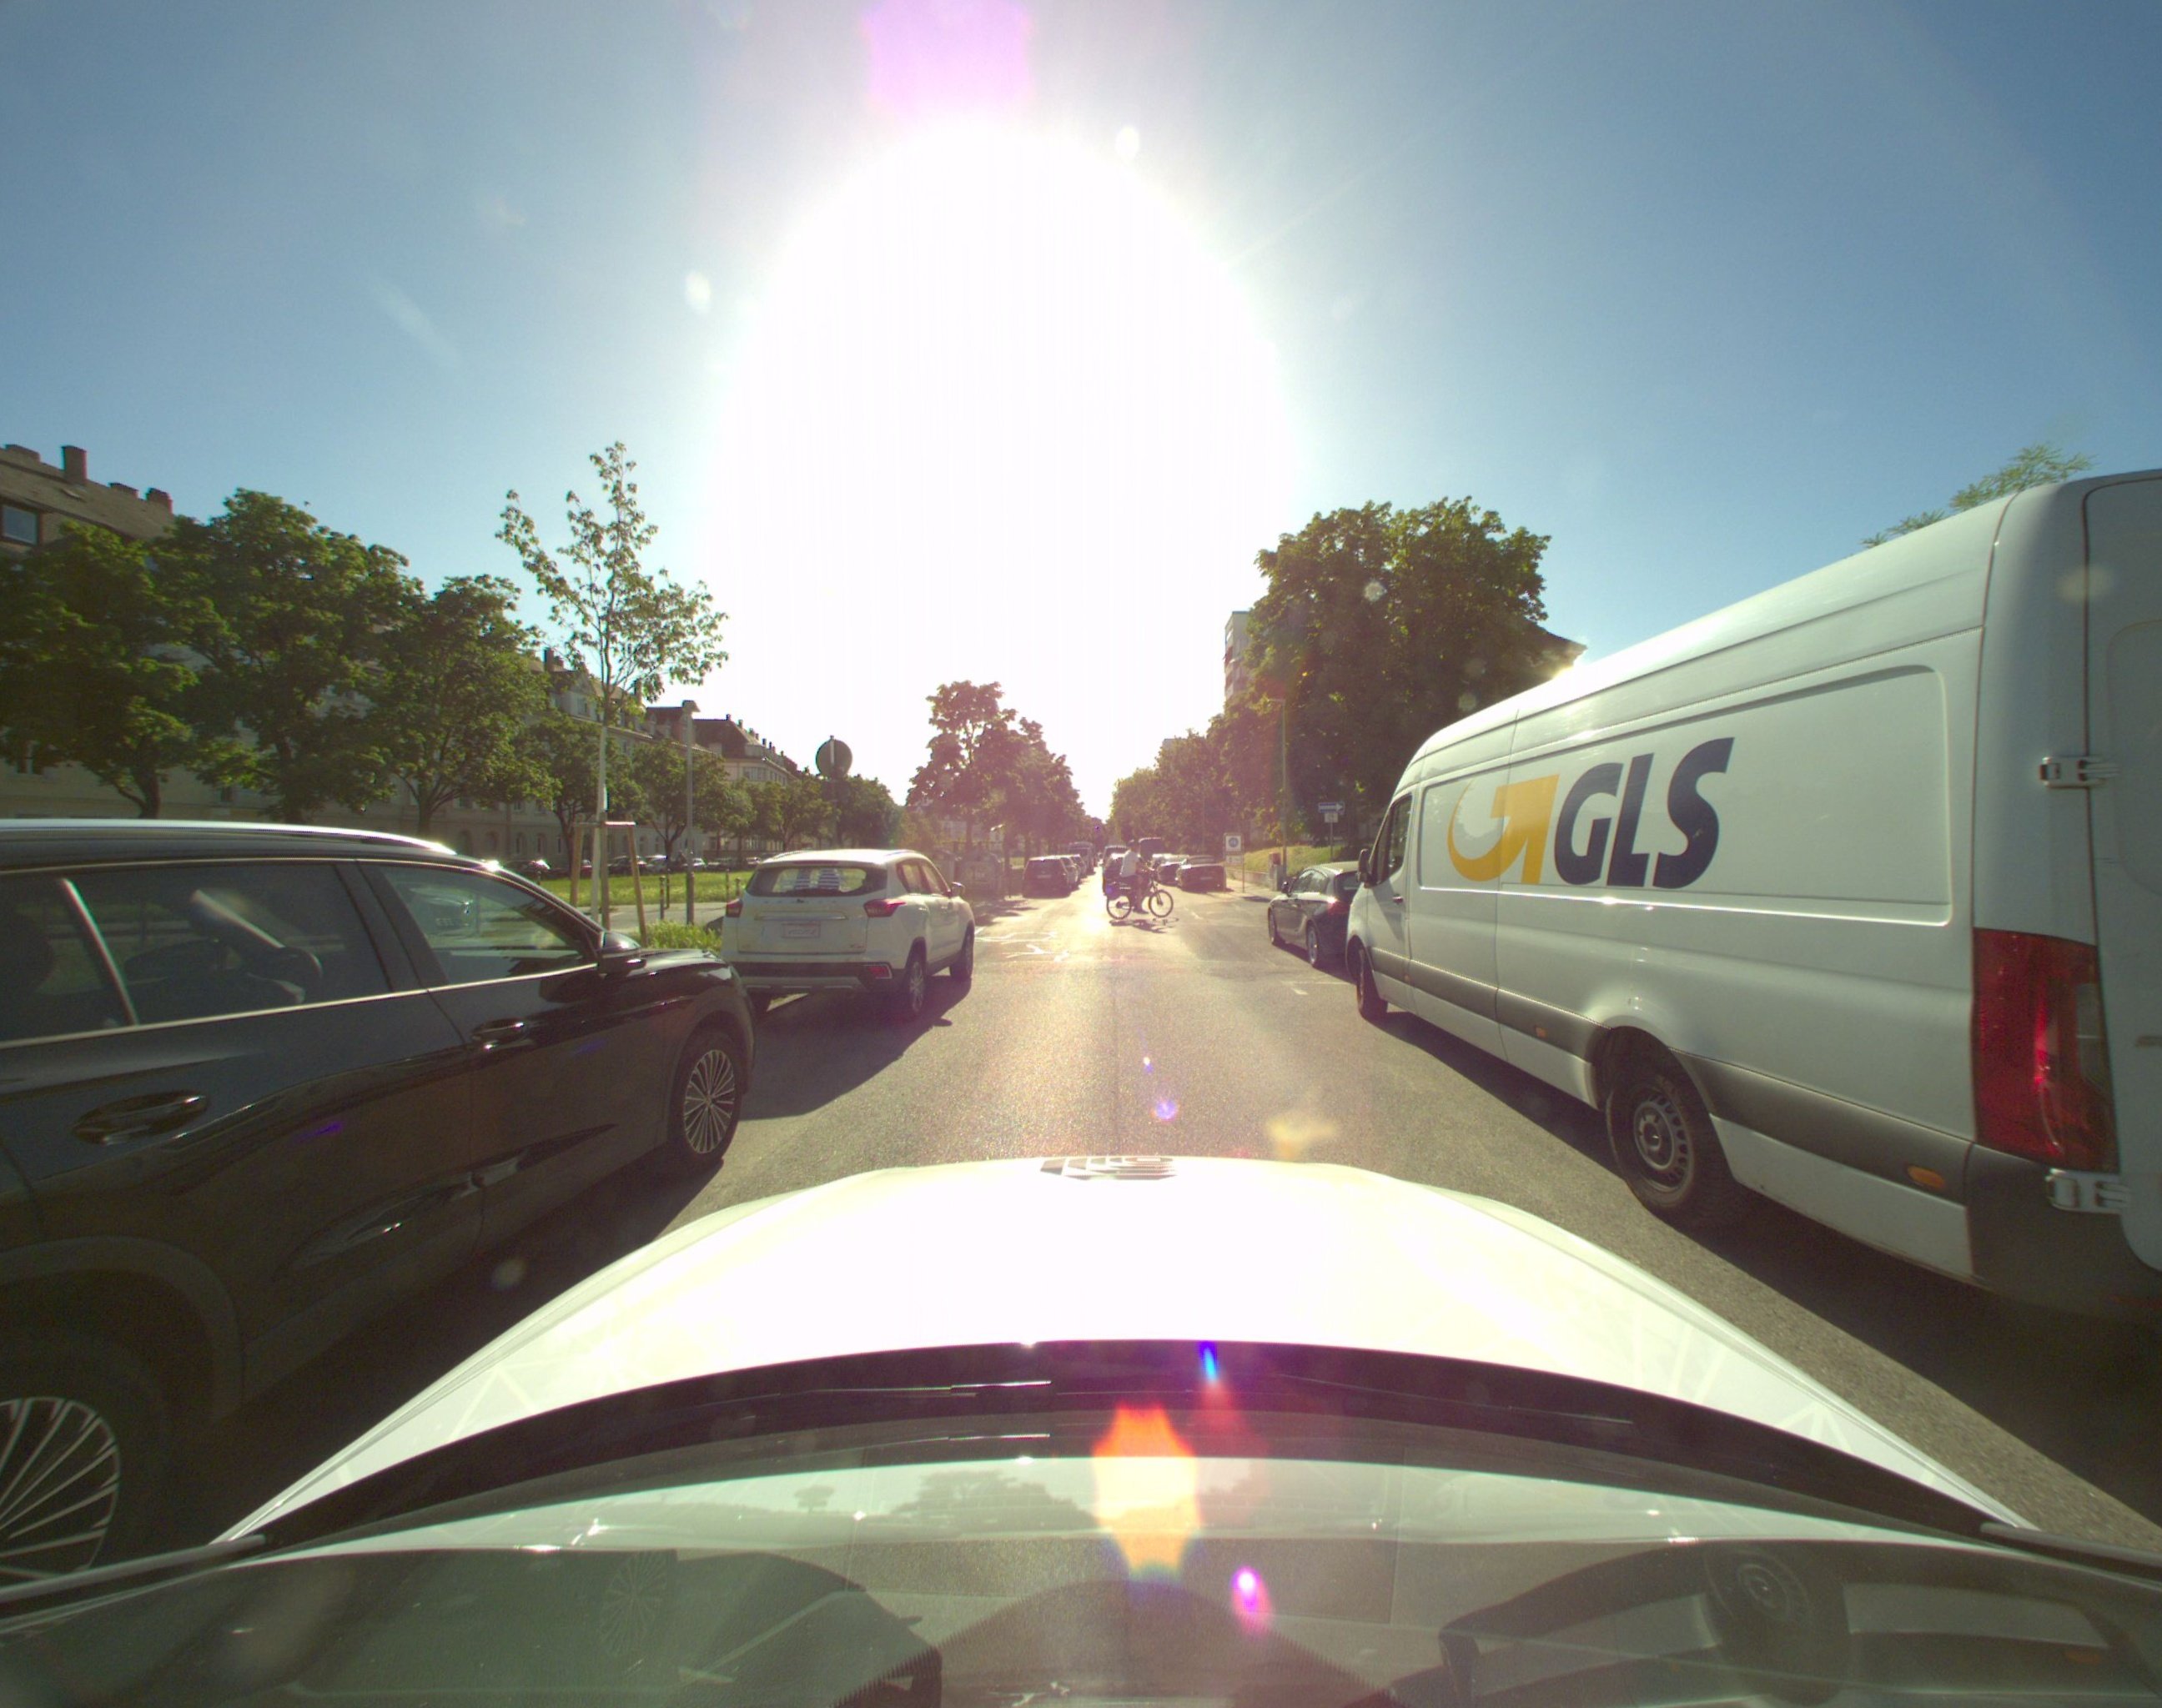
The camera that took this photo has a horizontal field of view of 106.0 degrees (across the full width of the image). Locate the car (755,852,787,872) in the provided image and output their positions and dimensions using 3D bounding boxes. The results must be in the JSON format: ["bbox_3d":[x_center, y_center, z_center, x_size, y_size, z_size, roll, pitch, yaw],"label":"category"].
[{"bbox_3d":[-34.472,0.884,90.787,1.689,2.213,5.007,0,0,0],"label":"car"}]

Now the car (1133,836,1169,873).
[{"bbox_3d":[5.299,0.017,62.478,2.156,2.689,5.414,-1,0,-1],"label":"car"}]

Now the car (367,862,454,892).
[{"bbox_3d":[-41.286,1.374,50.276,1.837,1.701,4.005,0,0,4],"label":"car"}]

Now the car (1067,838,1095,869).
[{"bbox_3d":[0.035,-0.025,68.520,2.090,2.496,4.130,0,0,3],"label":"car"}]

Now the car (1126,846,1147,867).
[{"bbox_3d":[6.224,0.275,92.064,2.155,2.292,5.267,-1,0,2],"label":"car"}]

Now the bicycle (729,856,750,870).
[{"bbox_3d":[-31.838,0.804,76.002,0.807,1.252,2.634,0,0,0],"label":"bicycle"}]

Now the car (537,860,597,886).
[{"bbox_3d":[-35.548,1.303,56.432,1.626,1.686,4.080,0,0,0],"label":"car"}]

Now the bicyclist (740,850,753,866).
[{"bbox_3d":[-30.099,0.370,73.240,0.735,1.437,0.943,-1,-1,1],"label":"bicyclist"}]

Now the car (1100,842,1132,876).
[{"bbox_3d":[2.275,0.297,52.343,1.886,1.991,4.014,-2,0,3],"label":"car"}]

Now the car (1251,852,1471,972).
[{"bbox_3d":[4.097,0.746,12.807,1.951,1.481,4.500,-2,0,1],"label":"car"}]

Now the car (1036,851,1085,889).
[{"bbox_3d":[-0.847,0.668,35.909,1.770,1.495,3.878,-2,-1,3],"label":"car"}]

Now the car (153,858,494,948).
[{"bbox_3d":[-14.161,0.847,15.622,4.352,1.409,1.907,-1,2,-23],"label":"car"}]

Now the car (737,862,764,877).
[{"bbox_3d":[-34.483,1.578,85.016,1.512,1.440,3.231,0,0,-1],"label":"car"}]

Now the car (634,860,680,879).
[{"bbox_3d":[-35.218,1.277,67.765,1.687,1.429,3.777,0,0,3],"label":"car"}]

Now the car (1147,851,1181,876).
[{"bbox_3d":[5.282,0.584,52.358,1.980,1.487,4.130,0,0,3],"label":"car"}]

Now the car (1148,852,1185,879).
[{"bbox_3d":[4.929,0.631,47.304,1.773,1.487,4.032,-1,0,1],"label":"car"}]

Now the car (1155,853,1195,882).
[{"bbox_3d":[4.679,0.657,40.931,1.772,1.371,4.130,0,0,3],"label":"car"}]

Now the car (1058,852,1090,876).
[{"bbox_3d":[-0.402,0.610,53.640,1.825,1.500,4.130,0,0,3],"label":"car"}]

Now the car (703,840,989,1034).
[{"bbox_3d":[-2.319,0.722,9.308,1.749,1.647,4.291,-2,0,3],"label":"car"}]

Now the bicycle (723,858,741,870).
[{"bbox_3d":[-31.314,0.880,73.143,0.729,1.079,1.956,-1,0,0],"label":"bicycle"}]

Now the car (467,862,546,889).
[{"bbox_3d":[-35.762,1.318,50.880,1.751,1.549,4.527,0,0,0],"label":"car"}]

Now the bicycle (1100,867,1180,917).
[{"bbox_3d":[1.384,0.878,19.175,1.764,1.127,0.659,0,0,-17],"label":"bicycle"}]

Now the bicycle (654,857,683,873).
[{"bbox_3d":[-32.114,0.854,63.445,0.807,1.252,2.636,0,0,3],"label":"bicycle"}]

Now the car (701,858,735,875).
[{"bbox_3d":[-40.225,1.360,90.338,1.853,1.749,4.001,0,0,1],"label":"car"}]

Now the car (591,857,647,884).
[{"bbox_3d":[-35.391,1.216,62.479,1.731,1.908,4.460,-1,0,0],"label":"car"}]

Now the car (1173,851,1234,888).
[{"bbox_3d":[5.191,0.616,34.957,2.116,1.337,4.509,-3,0,3],"label":"car"}]

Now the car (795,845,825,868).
[{"bbox_3d":[-34.327,0.283,103.247,1.910,2.744,5.623,0,0,0],"label":"car"}]

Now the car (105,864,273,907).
[{"bbox_3d":[-36.217,1.233,33.288,1.689,1.561,4.696,0,0,0],"label":"car"}]

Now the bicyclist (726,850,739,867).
[{"bbox_3d":[-31.353,0.401,73.217,0.735,1.437,0.943,-2,0,1],"label":"bicyclist"}]

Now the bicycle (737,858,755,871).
[{"bbox_3d":[-30.120,0.940,73.262,0.729,1.079,1.956,-1,0,0],"label":"bicycle"}]

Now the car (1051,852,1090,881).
[{"bbox_3d":[-0.516,0.648,43.836,1.772,1.461,4.130,0,0,3],"label":"car"}]

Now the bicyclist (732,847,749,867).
[{"bbox_3d":[-31.829,0.292,76.157,0.938,1.837,1.449,-1,-1,1],"label":"bicyclist"}]

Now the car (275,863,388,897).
[{"bbox_3d":[-36.072,1.211,39.355,1.689,1.526,4.080,0,0,0],"label":"car"}]

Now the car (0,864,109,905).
[{"bbox_3d":[-36.362,1.025,27.982,1.689,1.279,3.525,0,0,-1],"label":"car"}]

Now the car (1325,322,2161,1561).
[{"bbox_3d":[3.489,0.140,5.162,2.133,2.713,6.847,-2,0,3],"label":"car"}]

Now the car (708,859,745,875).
[{"bbox_3d":[-34.982,1.266,80.509,1.839,1.440,3.776,0,0,2],"label":"car"}]

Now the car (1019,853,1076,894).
[{"bbox_3d":[-1.235,0.717,31.395,1.741,1.425,3.919,-3,-1,3],"label":"car"}]

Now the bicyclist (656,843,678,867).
[{"bbox_3d":[-32.221,0.099,63.423,0.937,1.837,1.450,-1,-1,3],"label":"bicyclist"}]

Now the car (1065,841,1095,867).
[{"bbox_3d":[-0.042,-0.020,62.105,2.090,1.942,4.129,0,0,2],"label":"car"}]

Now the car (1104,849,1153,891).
[{"bbox_3d":[1.837,0.570,31.517,1.772,1.531,4.004,1,0,3],"label":"car"}]

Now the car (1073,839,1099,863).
[{"bbox_3d":[0.648,-0.316,93.982,2.605,2.645,6.119,0,0,3],"label":"car"}]

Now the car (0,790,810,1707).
[{"bbox_3d":[-2.766,0.733,2.837,1.835,1.638,4.717,-2,0,2],"label":"car"}]

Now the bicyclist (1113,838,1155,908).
[{"bbox_3d":[1.240,0.429,19.130,0.790,1.596,0.692,0,0,-17],"label":"bicyclist"}]
